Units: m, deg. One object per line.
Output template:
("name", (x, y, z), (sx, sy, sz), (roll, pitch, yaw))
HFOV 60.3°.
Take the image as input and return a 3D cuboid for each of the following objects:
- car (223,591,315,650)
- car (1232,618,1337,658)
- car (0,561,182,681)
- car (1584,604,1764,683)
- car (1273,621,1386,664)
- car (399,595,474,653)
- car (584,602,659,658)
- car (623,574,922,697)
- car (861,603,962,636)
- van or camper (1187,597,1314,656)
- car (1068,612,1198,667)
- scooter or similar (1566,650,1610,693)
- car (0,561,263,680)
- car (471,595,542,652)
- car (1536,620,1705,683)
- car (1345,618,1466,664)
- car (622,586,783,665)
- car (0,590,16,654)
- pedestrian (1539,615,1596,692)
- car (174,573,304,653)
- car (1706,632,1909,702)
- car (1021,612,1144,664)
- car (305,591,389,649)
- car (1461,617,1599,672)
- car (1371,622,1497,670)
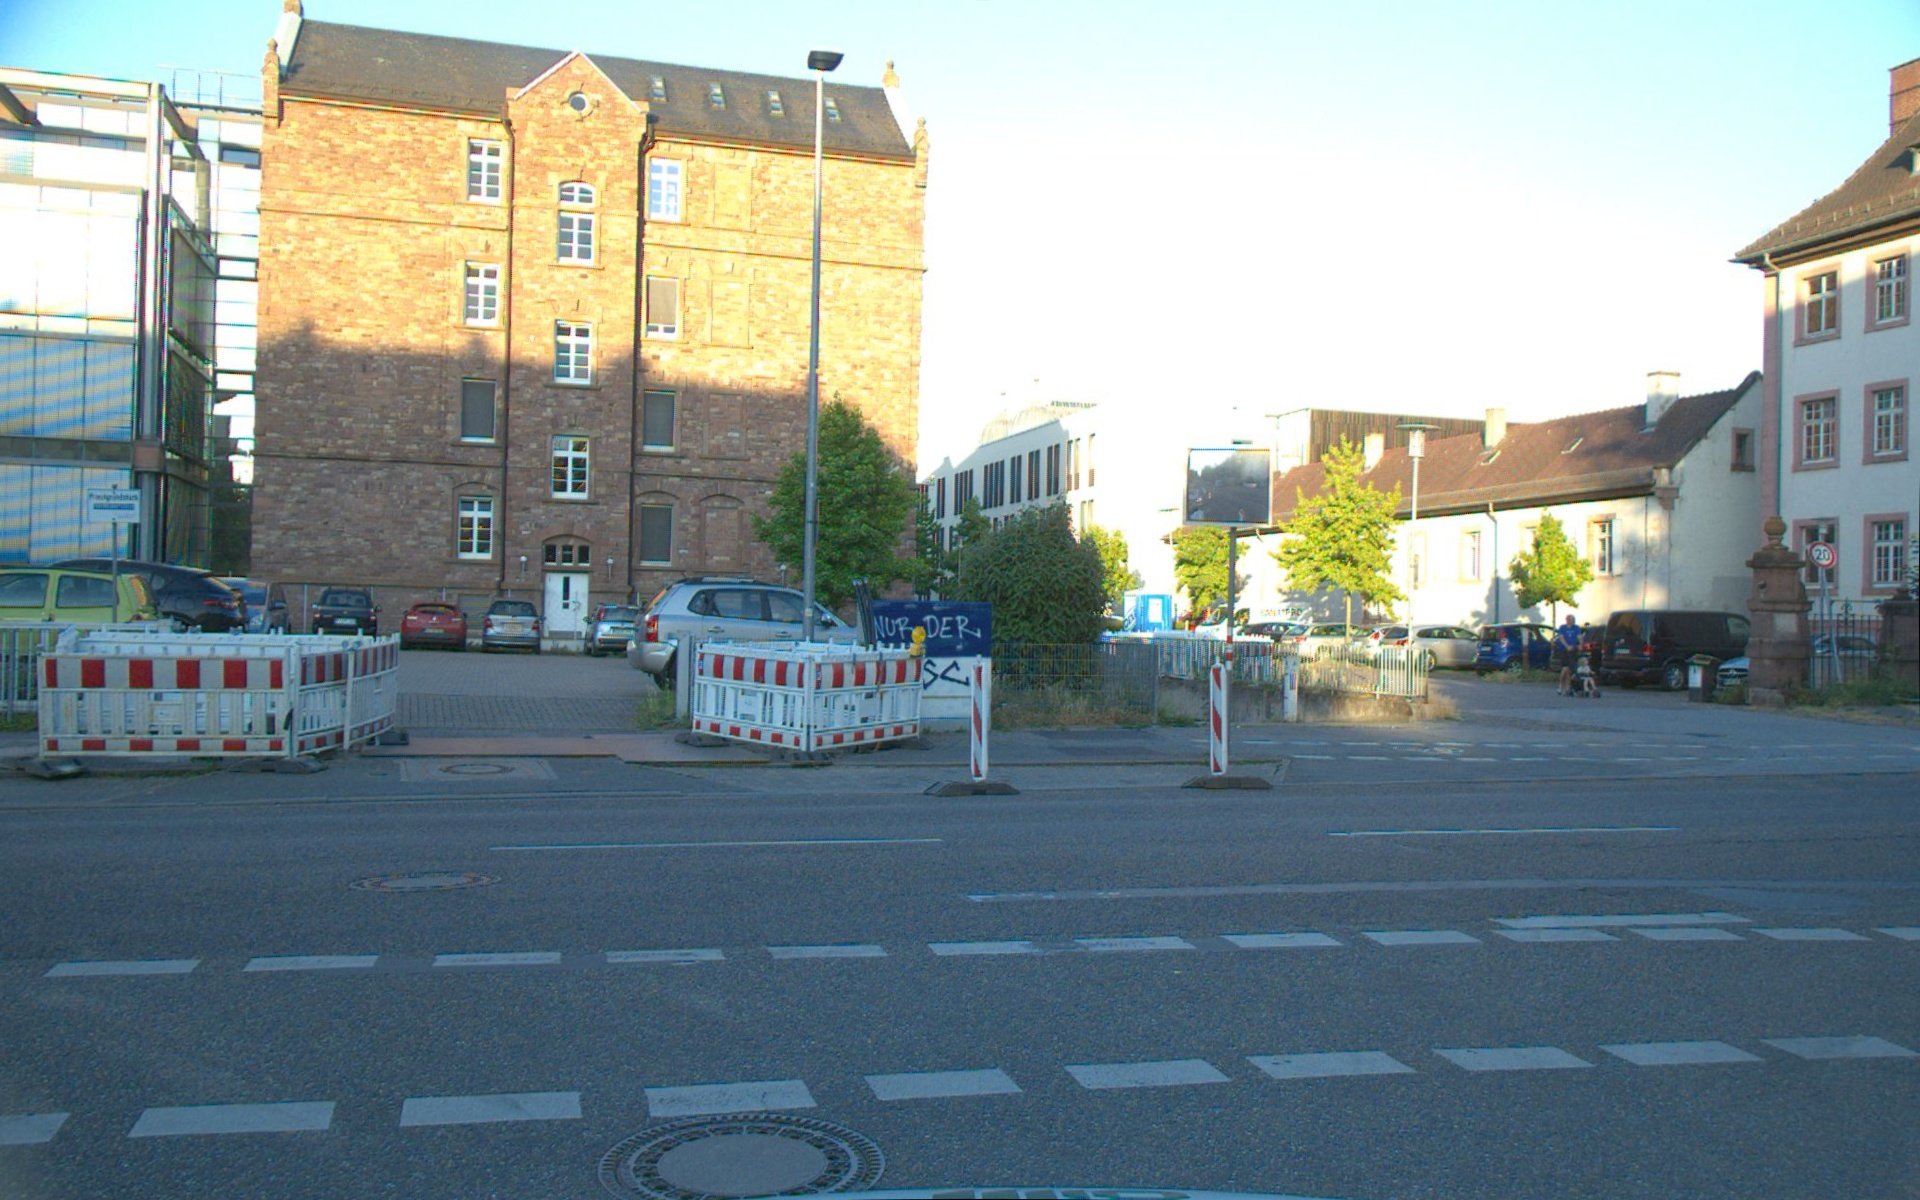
("car", (-19.485, 0.569, 46.779), (1.866, 1.564, 4.161), (1, 0, -16))
("car", (12.528, 1.477, 63.850), (3.685, 1.471, 1.677), (1, -1, -20))
("car", (-12.491, 0.270, 22.038), (3.571, 1.530, 1.630), (1, -1, -15))
("car", (18.153, 1.104, 42.078), (3.928, 1.891, 1.988), (1, -1, -20))
("car", (13.359, 1.529, 59.841), (3.685, 1.471, 1.677), (1, -1, -20))
("car", (-15.023, 0.669, 47.621), (1.866, 1.564, 4.161), (1, 0, -16))
("car", (-10.101, 0.861, 49.157), (1.866, 1.564, 4.161), (1, 0, -16))
("car", (-2.824, 0.535, 24.759), (4.202, 1.738, 1.694), (1, -1, -18))
("car", (-2.069, 0.823, 70.282), (3.924, 1.336, 1.868), (1, -1, -18))
("van or camper", (11.798, 1.082, 67.192), (4.889, 2.280, 1.677), (1, -1, -20))
("car", (5.424, 1.235, 51.891), (3.685, 1.631, 1.677), (1, -1, -20))
("scooter or similar", (13.471, 1.531, 35.483), (0.505, 0.906, 0.802), (1, -1, -16))
("car", (-12.839, 0.305, 24.359), (4.507, 1.666, 1.569), (1, -1, -15))
("car", (-13.235, 0.672, 48.265), (1.866, 1.564, 4.161), (1, 0, -16))
("car", (17.824, 1.391, 44.677), (3.928, 1.600, 1.988), (1, -1, -20))
("car", (15.137, 1.403, 56.188), (3.685, 1.471, 1.677), (1, -1, -20))
("car", (-5.885, 0.581, 37.764), (3.421, 1.738, 1.660), (1, -1, -18))
("car", (-20.723, 0.437, 33.351), (1.908, 1.328, 4.345), (1, 0, -16))
("pedestrian", (13.382, 1.166, 36.442), (0.737, 1.671, 1.010), (1, -1, -15))
("car", (-15.506, 0.273, 35.809), (1.961, 1.604, 4.345), (1, 0, -16))
("car", (19.205, 1.511, 37.519), (3.928, 1.485, 1.988), (1, -1, -20))
("car", (4.035, 1.267, 54.580), (3.685, 1.631, 1.677), (1, -1, -20))
("car", (-17.502, 0.561, 47.386), (1.866, 1.564, 4.161), (1, 0, -16))
("car", (16.973, 1.336, 49.277), (3.685, 1.556, 1.677), (1, -1, -20))
("car", (15.381, 1.496, 53.665), (3.685, 1.471, 1.677), (1, -1, -20))
